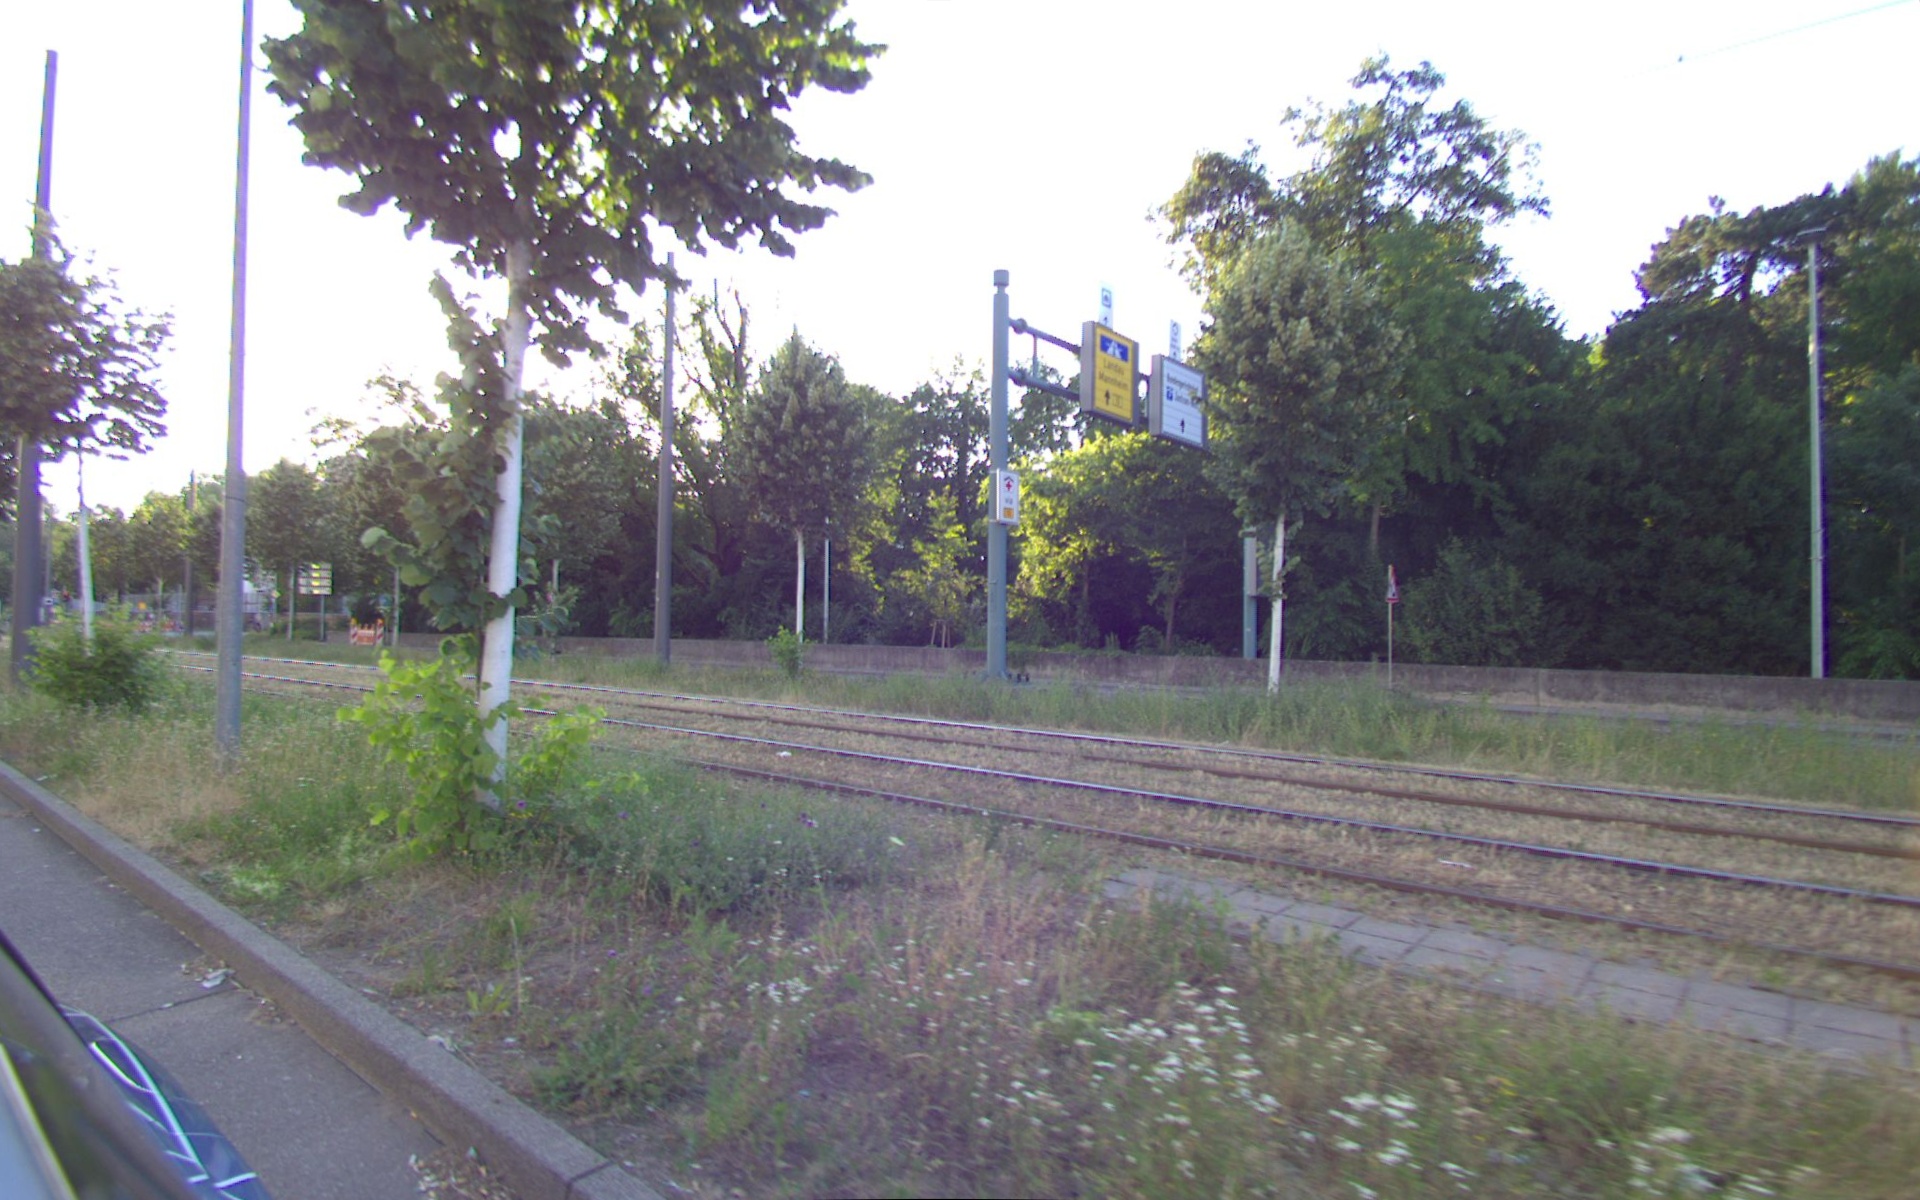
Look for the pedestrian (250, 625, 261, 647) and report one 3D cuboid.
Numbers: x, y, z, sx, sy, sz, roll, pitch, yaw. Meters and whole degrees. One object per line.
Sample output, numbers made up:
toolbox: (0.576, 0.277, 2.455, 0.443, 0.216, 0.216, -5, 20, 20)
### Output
pedestrian: (-55.086, 2.799, 79.085, 0.660, 1.620, 0.679, -1, -4, -37)
